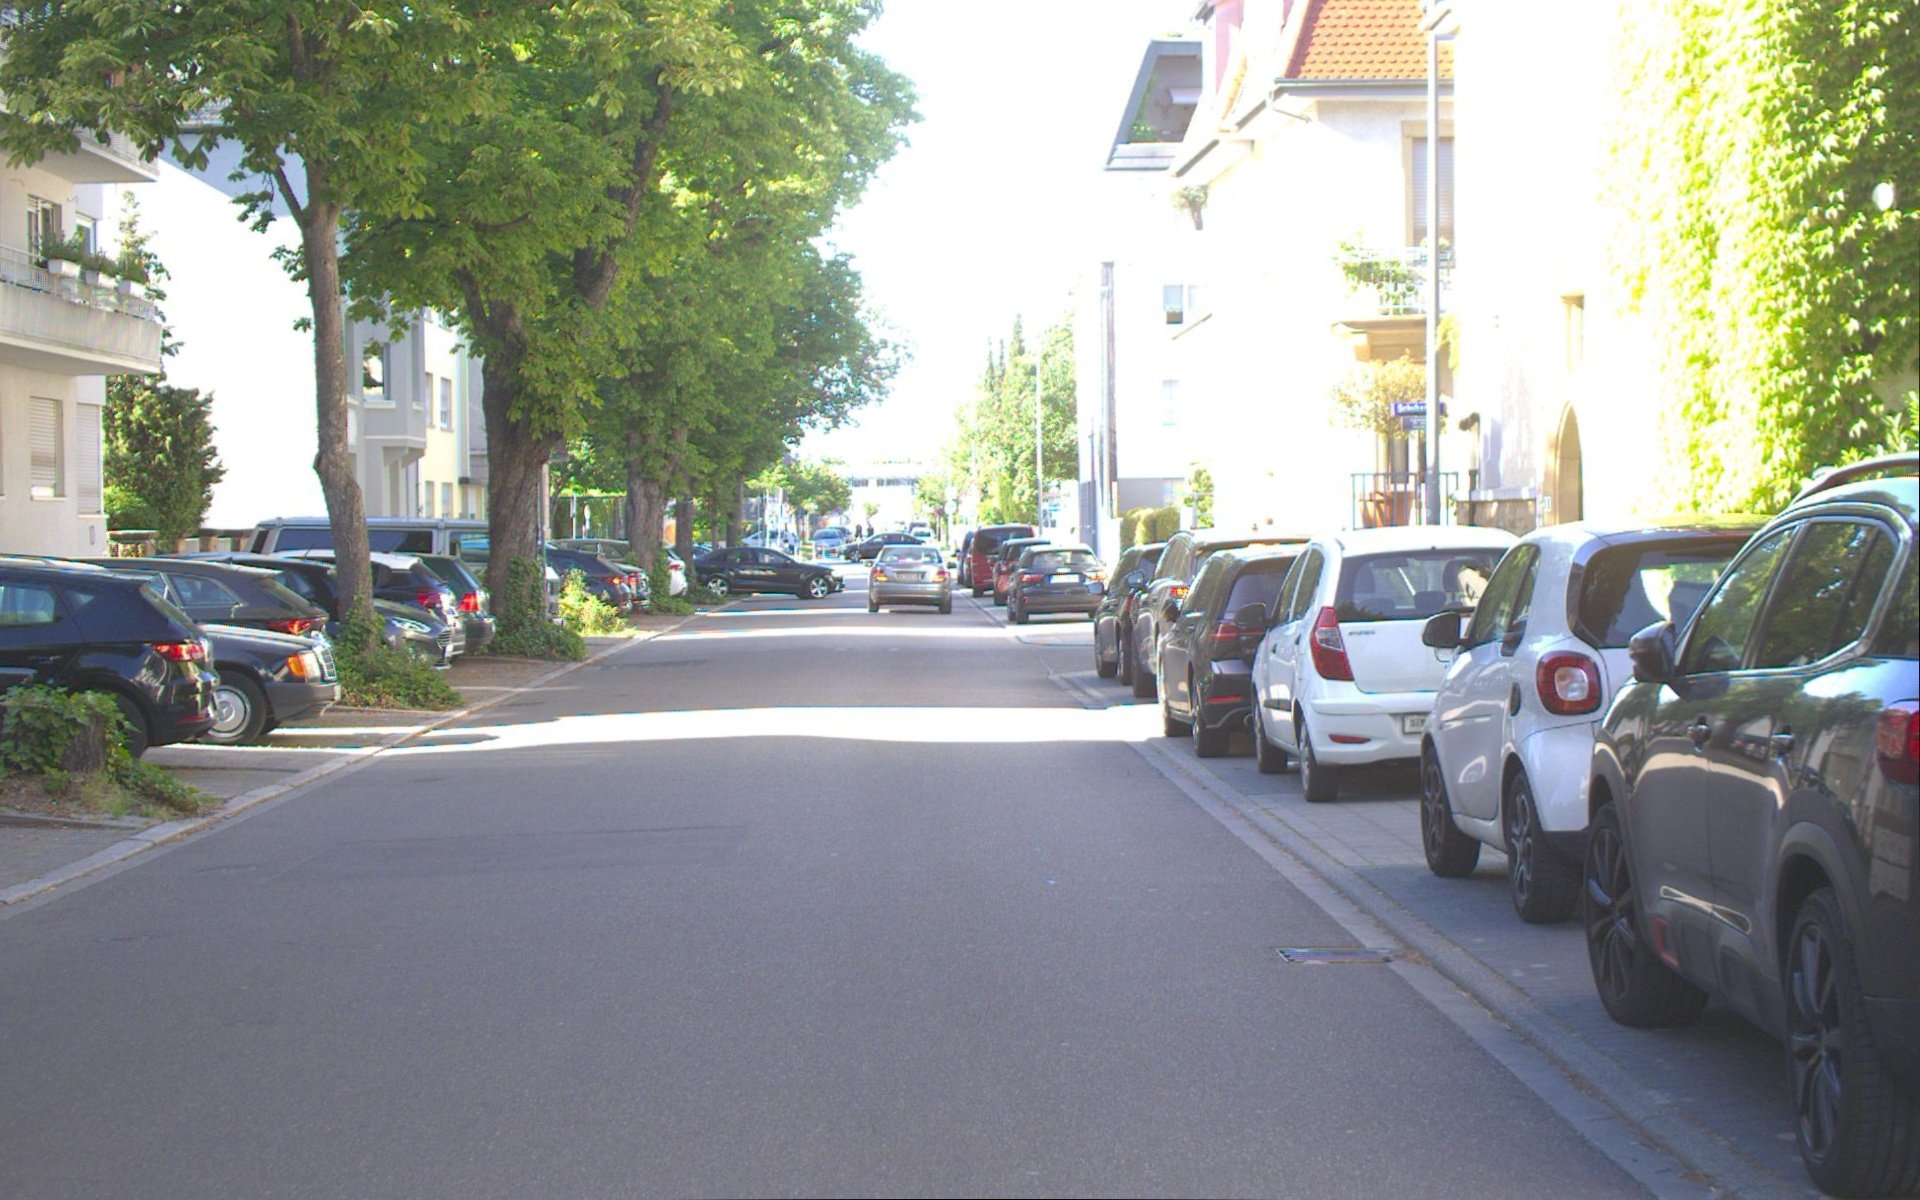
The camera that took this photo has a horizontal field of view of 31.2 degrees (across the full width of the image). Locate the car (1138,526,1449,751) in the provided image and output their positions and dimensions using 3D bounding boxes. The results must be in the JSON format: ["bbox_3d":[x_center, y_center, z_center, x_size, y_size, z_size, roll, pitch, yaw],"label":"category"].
[{"bbox_3d":[2.345,0.251,25.170,1.709,1.431,4.193,-3,0,-1],"label":"car"}]

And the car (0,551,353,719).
[{"bbox_3d":[-7.630,0.293,30.591,4.187,1.436,1.713,0,1,-2],"label":"car"}]

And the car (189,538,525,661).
[{"bbox_3d":[-7.471,-0.017,42.851,3.921,1.410,1.716,1,2,-3],"label":"car"}]

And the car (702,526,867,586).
[{"bbox_3d":[-4.594,-1.141,90.238,4.189,1.443,1.712,1,0,1],"label":"car"}]

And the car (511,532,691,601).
[{"bbox_3d":[-8.378,-0.795,80.460,4.022,1.479,1.807,1,1,-1],"label":"car"}]

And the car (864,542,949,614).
[{"bbox_3d":[-1.111,-0.487,73.078,1.726,1.415,3.961,-2,1,0],"label":"car"}]

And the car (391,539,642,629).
[{"bbox_3d":[-7.725,-0.292,60.164,4.186,1.493,1.861,-1,1,-2],"label":"car"}]

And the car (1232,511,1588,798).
[{"bbox_3d":[2.635,0.298,20.815,1.575,1.544,3.469,-2,0,-1],"label":"car"}]

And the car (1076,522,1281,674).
[{"bbox_3d":[2.319,-0.026,37.417,1.662,1.515,4.002,-2,0,-4],"label":"car"}]

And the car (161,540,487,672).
[{"bbox_3d":[-7.432,0.059,40.424,3.478,1.453,1.797,1,1,0],"label":"car"}]

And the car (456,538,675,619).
[{"bbox_3d":[-7.479,-0.428,65.472,3.987,1.463,1.697,-1,1,-1],"label":"car"}]

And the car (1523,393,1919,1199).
[{"bbox_3d":[2.764,0.447,9.023,1.778,1.690,4.320,1,0,-1],"label":"car"}]

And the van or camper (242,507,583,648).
[{"bbox_3d":[-7.636,-0.328,48.276,4.497,1.908,1.964,0,1,-1],"label":"van or camper"}]

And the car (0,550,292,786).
[{"bbox_3d":[-6.615,0.467,23.678,3.869,1.509,1.833,-2,1,-10],"label":"car"}]

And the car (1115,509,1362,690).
[{"bbox_3d":[2.519,-0.014,32.040,1.791,1.515,4.367,-2,0,-1],"label":"car"}]

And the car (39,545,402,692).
[{"bbox_3d":[-7.575,0.183,35.467,3.477,1.416,1.710,1,0,-6],"label":"car"}]

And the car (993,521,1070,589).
[{"bbox_3d":[1.646,-1.052,79.986,1.592,1.475,3.247,-3,1,-1],"label":"car"}]

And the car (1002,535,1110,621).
[{"bbox_3d":[1.737,-0.435,63.376,1.619,1.435,3.935,-3,2,-3],"label":"car"}]

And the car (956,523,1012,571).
[{"bbox_3d":[0.782,-1.764,115.021,1.682,1.430,4.266,-4,0,-1],"label":"car"}]

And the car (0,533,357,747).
[{"bbox_3d":[-7.249,0.322,27.874,4.588,1.601,1.833,-2,1,-10],"label":"car"}]

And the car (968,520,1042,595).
[{"bbox_3d":[1.186,-1.145,92.372,1.871,1.898,5.197,-2,1,0],"label":"car"}]

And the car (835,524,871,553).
[{"bbox_3d":[-6.556,-3.750,210.198,1.872,1.722,4.001,-1,1,-5],"label":"car"}]

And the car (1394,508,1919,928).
[{"bbox_3d":[2.820,0.434,14.177,1.625,1.544,2.869,0,0,-1],"label":"car"}]

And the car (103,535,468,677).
[{"bbox_3d":[-7.393,0.049,37.911,3.644,1.458,1.710,1,1,1],"label":"car"}]
